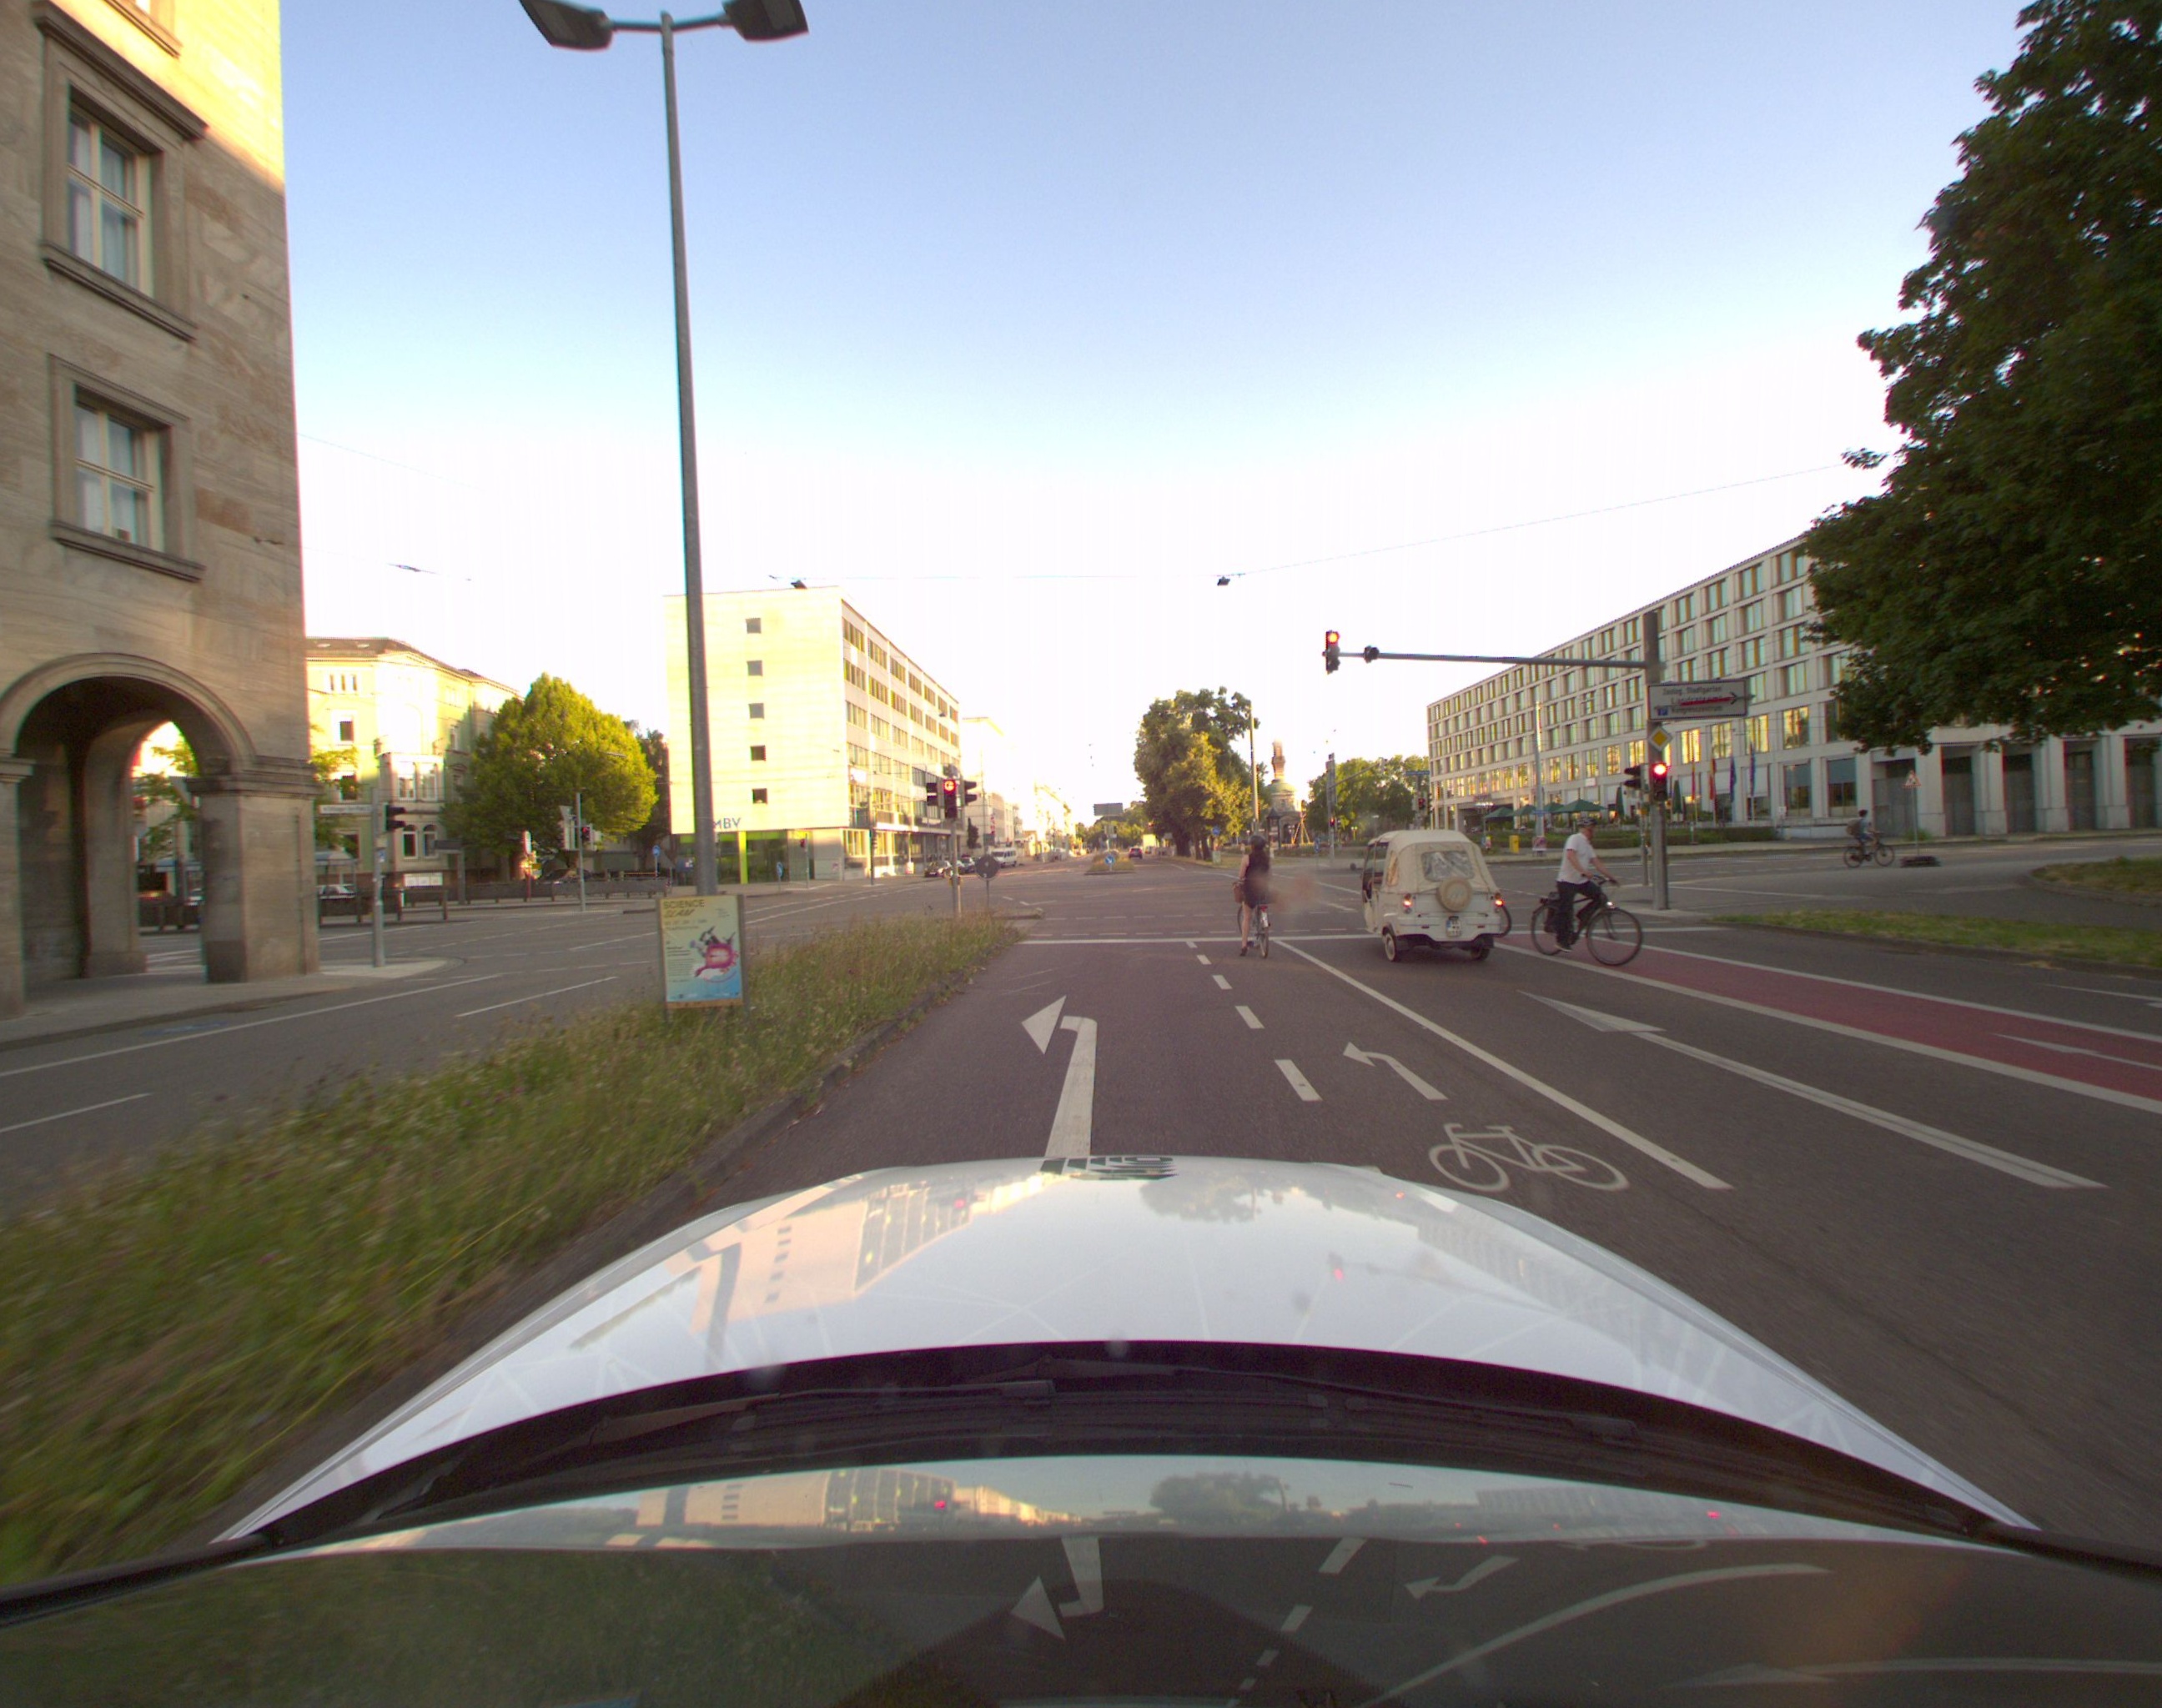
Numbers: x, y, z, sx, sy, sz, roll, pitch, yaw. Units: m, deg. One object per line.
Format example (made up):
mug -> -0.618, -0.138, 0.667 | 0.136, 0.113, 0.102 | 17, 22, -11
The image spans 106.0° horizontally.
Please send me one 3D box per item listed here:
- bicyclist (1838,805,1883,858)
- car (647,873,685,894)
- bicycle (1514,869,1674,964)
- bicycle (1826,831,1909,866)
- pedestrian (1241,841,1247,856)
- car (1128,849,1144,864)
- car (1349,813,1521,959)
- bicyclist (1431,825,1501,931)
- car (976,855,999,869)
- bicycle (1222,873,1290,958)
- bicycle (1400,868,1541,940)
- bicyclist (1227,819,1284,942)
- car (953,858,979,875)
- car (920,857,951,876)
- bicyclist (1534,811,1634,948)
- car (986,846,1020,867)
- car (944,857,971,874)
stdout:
bicyclist -> 25.480, -0.724, 26.627 | 0.742, 1.693, 0.716 | -3, 0, 5
car -> -24.946, 1.760, 49.027 | 0.850, 1.073, 2.523 | -3, 0, 2
bicycle -> 6.570, 0.755, 10.567 | 0.728, 1.069, 1.898 | -1, 0, -7
bicycle -> 25.679, -0.185, 26.602 | 1.887, 1.069, 0.732 | -2, 0, 5
pedestrian -> 18.280, -0.613, 91.300 | 0.506, 1.668, 0.531 | -3, 0, 1
car -> 7.555, 0.312, 112.736 | 1.986, 2.013, 4.002 | -3, 0, 2
car -> 4.840, 0.371, 11.462 | 1.452, 1.780, 2.568 | -2, 1, 5
bicyclist -> 6.438, 0.384, 13.631 | 0.719, 1.693, 0.740 | -2, 0, -38
car -> -10.841, 0.969, 94.848 | 1.787, 1.475, 4.006 | -3, -2, 6
bicycle -> 2.559, 0.862, 12.121 | 0.635, 1.069, 2.070 | -1, 0, 3
bicycle -> 6.474, 0.790, 13.635 | 0.734, 1.069, 1.998 | -1, 0, -38
bicyclist -> 2.516, 0.375, 11.806 | 0.626, 1.693, 0.749 | -3, 0, 2
car -> -11.578, 1.278, 82.188 | 1.789, 1.475, 4.001 | -3, -2, 2
car -> -12.827, 1.093, 71.854 | 1.789, 1.475, 4.002 | -3, 0, 2
bicyclist -> 6.538, 0.319, 10.620 | 0.762, 1.693, 0.747 | -3, 0, -6
car -> -9.662, 0.390, 101.410 | 2.161, 2.385, 6.011 | -3, -2, 14
car -> -11.837, 1.132, 78.091 | 1.789, 1.475, 4.001 | -3, -2, 2
